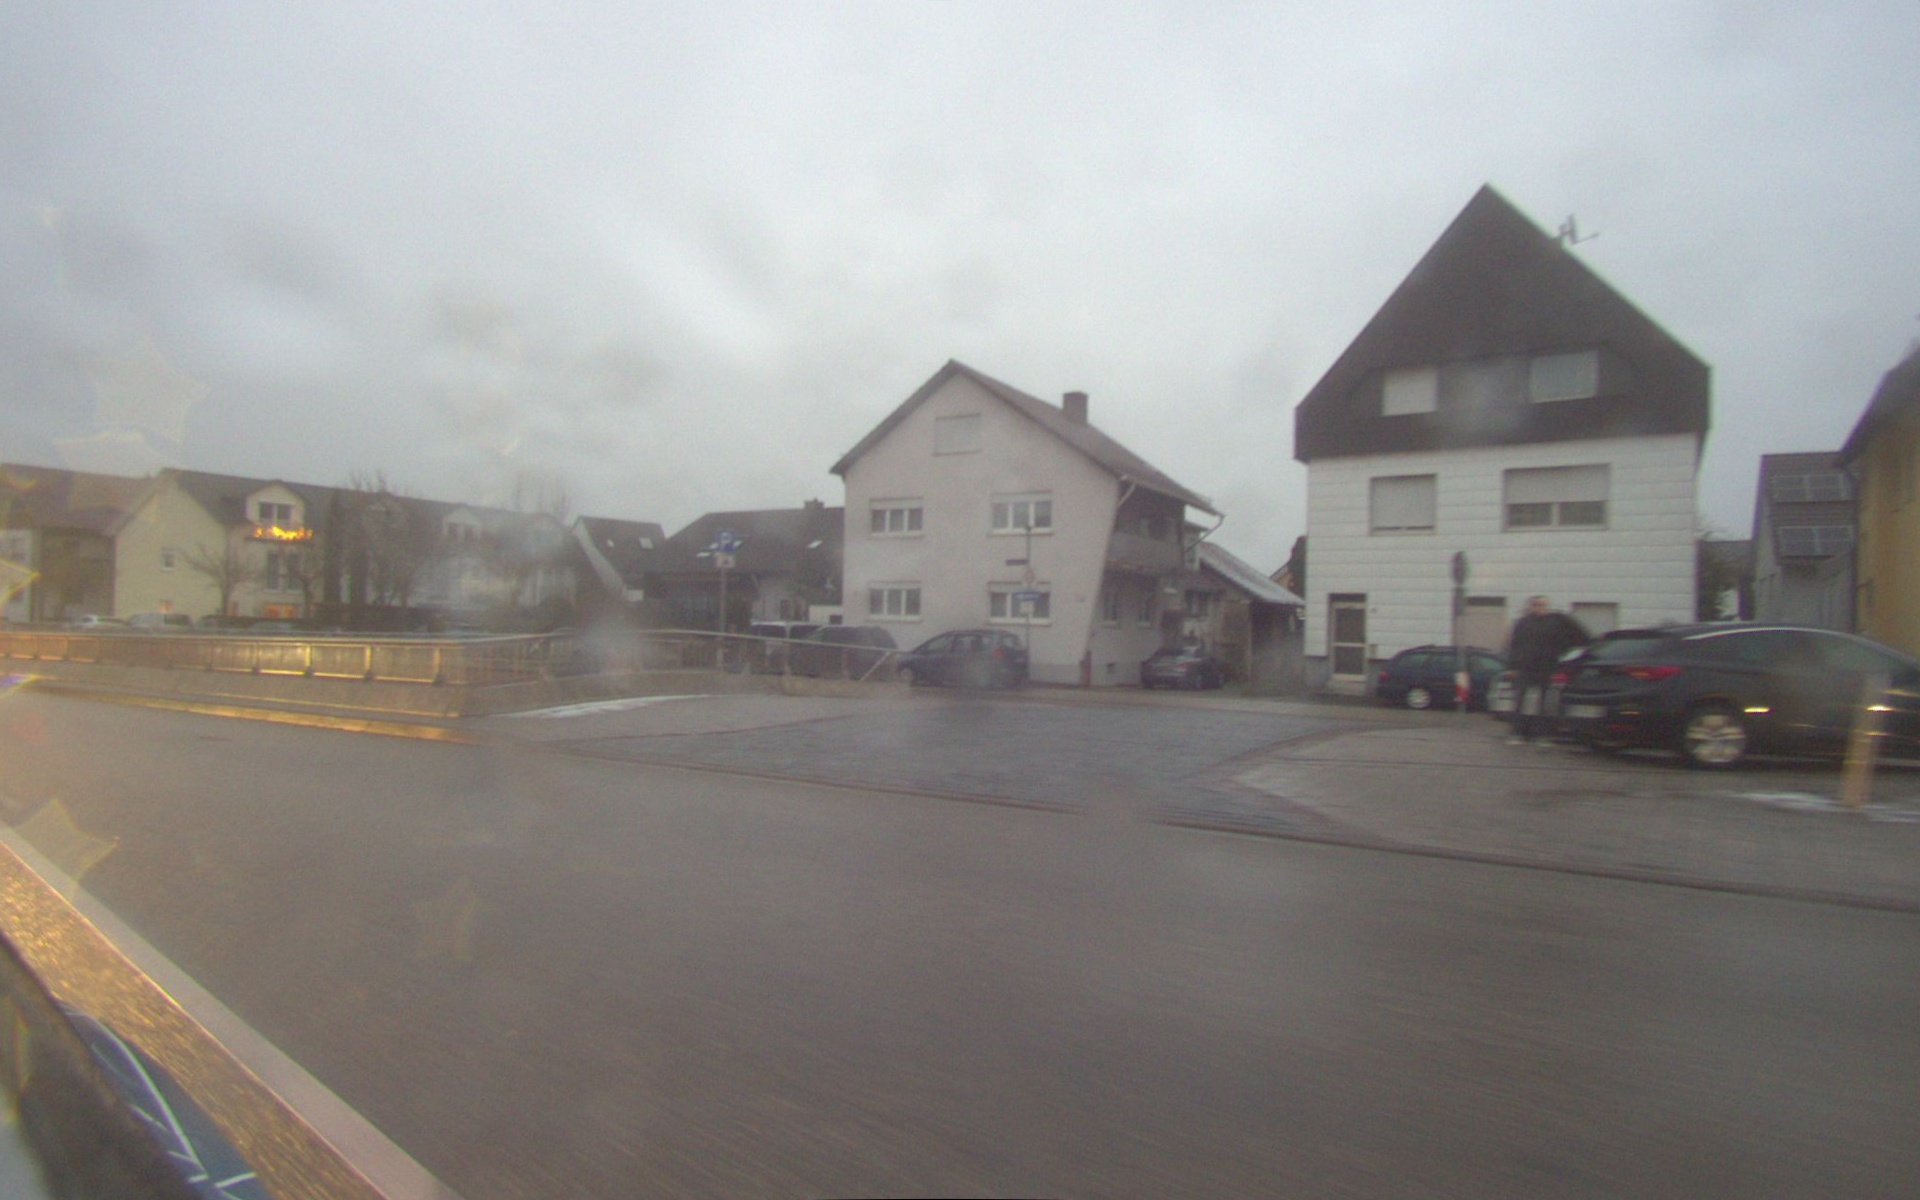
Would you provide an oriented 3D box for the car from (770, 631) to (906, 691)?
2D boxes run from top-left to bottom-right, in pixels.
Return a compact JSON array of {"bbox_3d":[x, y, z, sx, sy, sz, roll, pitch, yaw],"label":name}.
[{"bbox_3d":[-3.774,1.817,31.120,3.944,1.673,1.687,0,-1,30],"label":"car"}]

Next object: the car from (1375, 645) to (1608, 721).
[{"bbox_3d":[12.043,1.804,23.078,4.417,1.511,1.892,-2,-2,38],"label":"car"}]

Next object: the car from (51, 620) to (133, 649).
[{"bbox_3d":[-46.963,1.859,54.754,3.989,1.480,1.664,0,-4,22],"label":"car"}]

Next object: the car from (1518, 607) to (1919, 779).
[{"bbox_3d":[8.285,0.891,10.295,4.122,1.543,1.914,1,-1,1],"label":"car"}]

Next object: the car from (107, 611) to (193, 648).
[{"bbox_3d":[-41.874,1.499,52.303,4.233,1.841,1.784,0,-2,26],"label":"car"}]

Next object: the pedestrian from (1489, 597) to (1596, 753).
[{"bbox_3d":[6.719,0.856,11.721,0.832,1.725,0.722,0,-4,8],"label":"pedestrian"}]

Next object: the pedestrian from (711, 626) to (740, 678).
[{"bbox_3d":[-6.033,1.329,26.064,0.594,1.312,0.511,0,-2,2],"label":"pedestrian"}]

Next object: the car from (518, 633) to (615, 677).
[{"bbox_3d":[-14.768,2.031,37.950,3.488,1.520,1.464,0,-2,29],"label":"car"}]

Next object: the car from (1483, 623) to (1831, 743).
[{"bbox_3d":[10.494,1.244,15.546,3.954,1.644,1.760,0,-4,9],"label":"car"}]

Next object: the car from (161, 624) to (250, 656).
[{"bbox_3d":[-37.456,1.957,50.256,4.234,1.480,1.784,0,-2,26],"label":"car"}]

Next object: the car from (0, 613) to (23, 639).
[{"bbox_3d":[-57.739,1.518,59.725,4.584,1.480,1.787,0,-2,22],"label":"car"}]

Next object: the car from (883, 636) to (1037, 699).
[{"bbox_3d":[-0.022,1.842,28.676,4.081,1.581,1.760,0,-1,33],"label":"car"}]

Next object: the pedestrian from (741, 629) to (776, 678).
[{"bbox_3d":[-5.368,1.413,26.961,0.601,1.259,0.685,-1,-2,35],"label":"pedestrian"}]

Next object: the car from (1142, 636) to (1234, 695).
[{"bbox_3d":[7.457,2.158,32.846,1.712,1.695,3.957,2,-3,31],"label":"car"}]

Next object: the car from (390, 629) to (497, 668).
[{"bbox_3d":[-21.535,2.006,42.166,4.234,1.480,1.784,0,-2,26],"label":"car"}]

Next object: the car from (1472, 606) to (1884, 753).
[{"bbox_3d":[8.982,0.996,12.990,3.847,1.683,1.838,1,-4,5],"label":"car"}]

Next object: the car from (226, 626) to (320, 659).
[{"bbox_3d":[-32.451,1.983,47.776,4.234,1.480,1.784,0,-2,26],"label":"car"}]
